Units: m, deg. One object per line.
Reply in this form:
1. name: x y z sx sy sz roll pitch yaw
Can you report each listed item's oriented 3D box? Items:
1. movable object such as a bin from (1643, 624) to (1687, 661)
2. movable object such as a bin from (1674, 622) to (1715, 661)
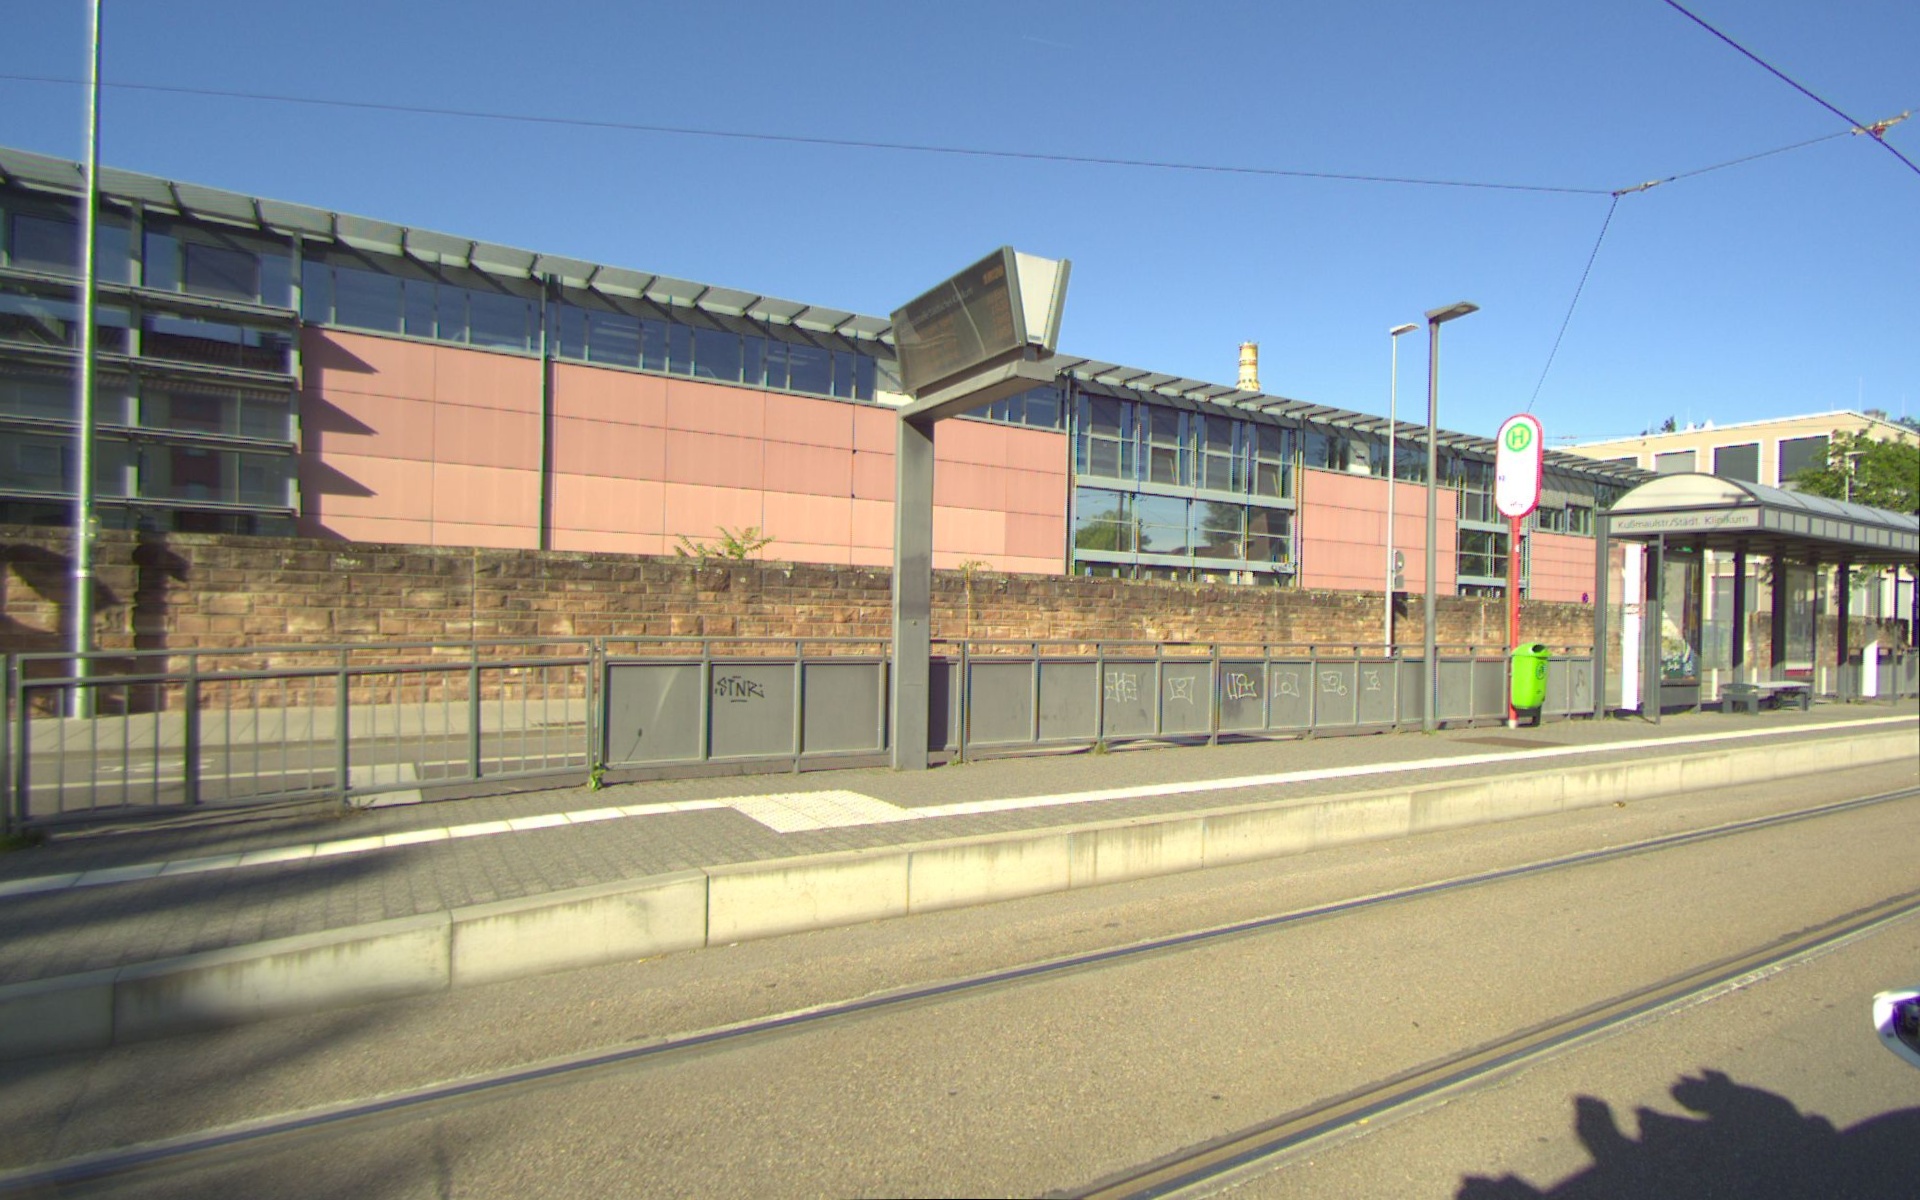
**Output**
1. movable object such as a bin: 25.498 1.529 36.314 1.295 1.302 0.876 2 -1 -33
2. movable object such as a bin: 28.304 1.611 38.702 1.295 1.466 0.876 2 -1 -32
